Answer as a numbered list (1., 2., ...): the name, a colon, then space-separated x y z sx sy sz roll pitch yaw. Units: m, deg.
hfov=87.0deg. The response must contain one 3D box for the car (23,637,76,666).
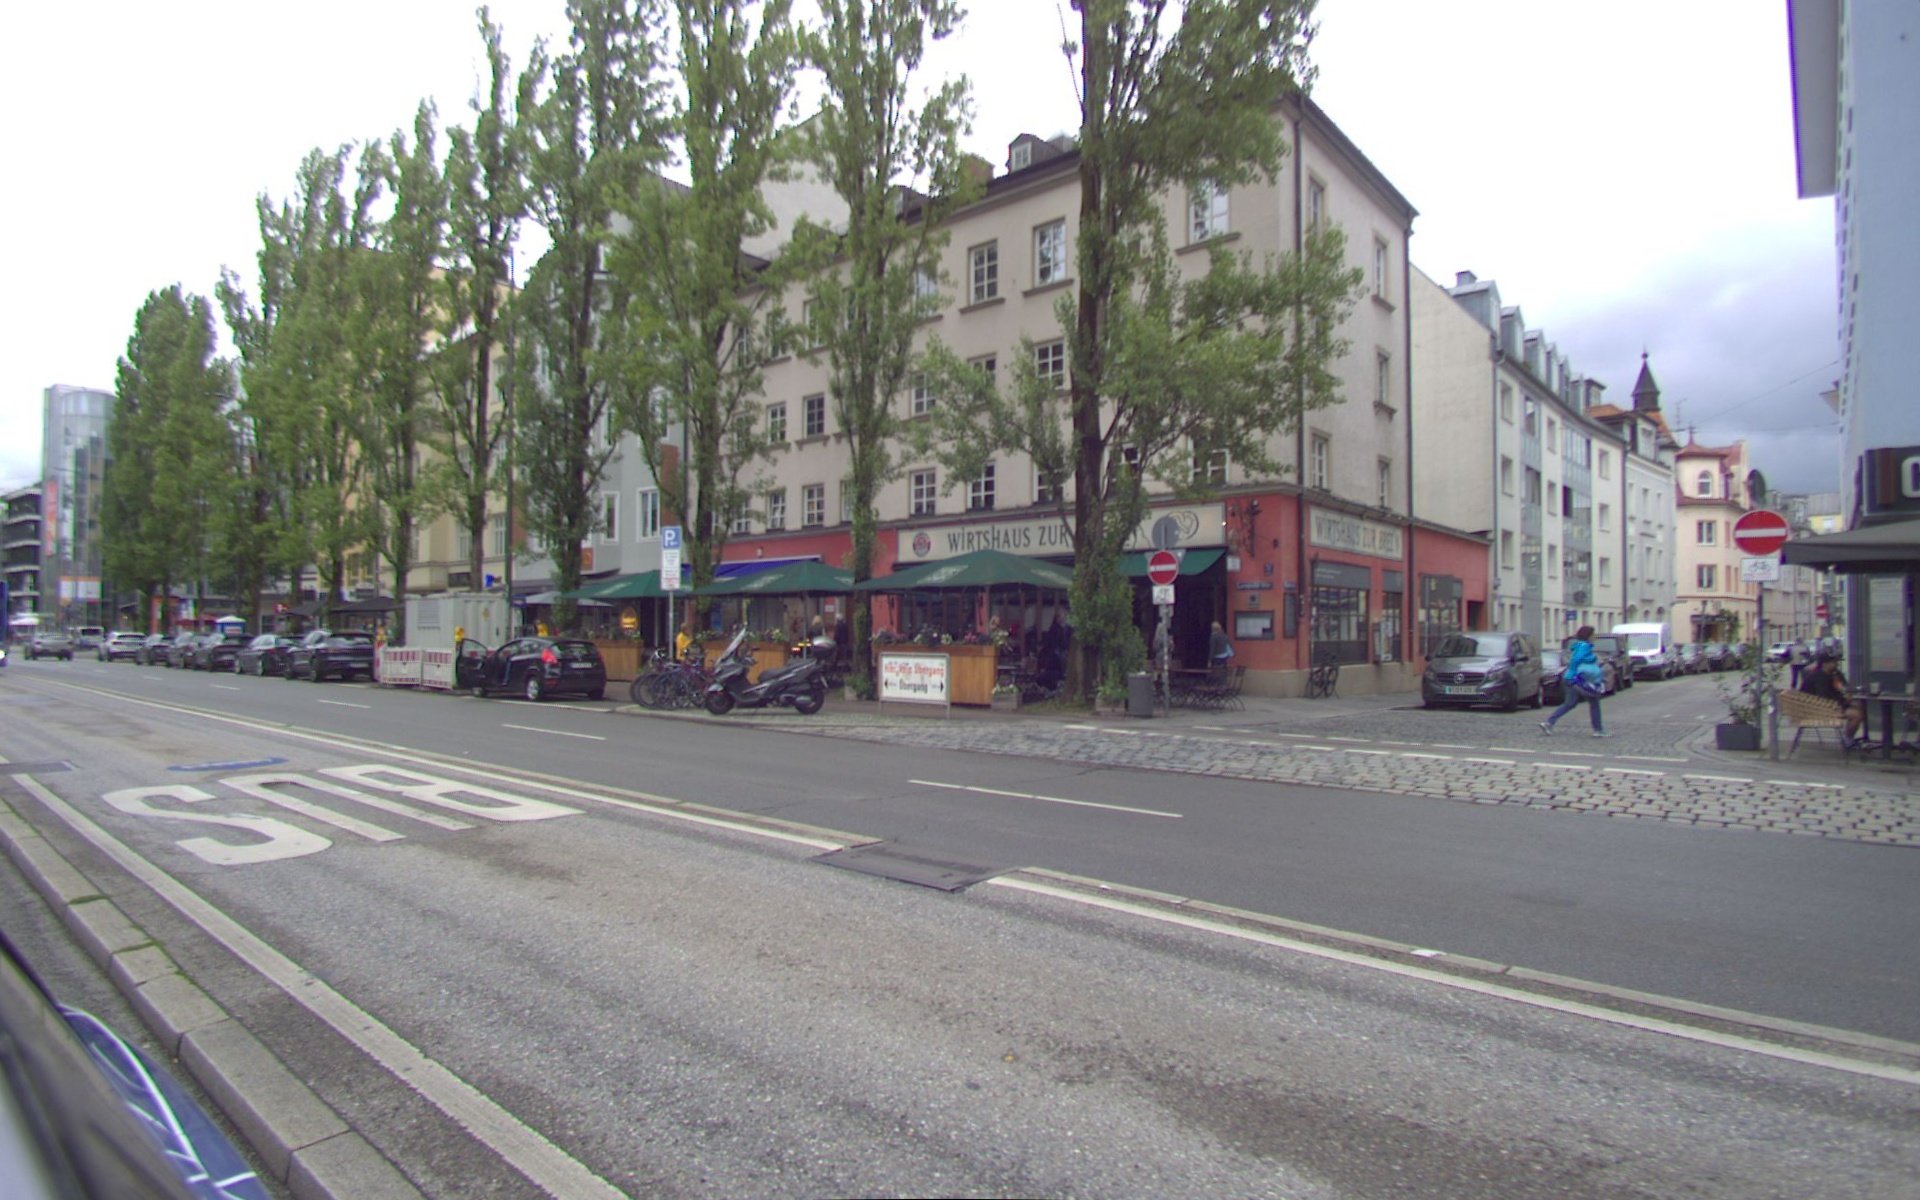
1. car: -51.235 2.879 56.940 4.075 1.553 1.695 -2 -4 42

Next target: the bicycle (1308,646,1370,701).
1. bicycle: 8.848 1.683 23.548 0.645 1.214 2.317 -2 -3 39

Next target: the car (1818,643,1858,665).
1. car: 72.686 4.504 83.736 4.517 1.780 1.985 3 -4 -43

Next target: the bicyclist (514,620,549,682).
1. bicyclist: -12.028 1.413 28.425 0.816 1.718 0.598 -2 -2 42

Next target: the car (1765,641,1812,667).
1. car: 57.916 3.781 70.722 4.518 1.780 1.985 4 -4 -44

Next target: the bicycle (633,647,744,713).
1. bicycle: -5.028 1.478 18.804 1.949 1.134 0.283 -1 0 -12

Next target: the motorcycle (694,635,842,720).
1. motorcycle: -3.315 1.319 17.562 2.426 1.425 0.744 0 -2 8

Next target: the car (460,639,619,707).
1. car: -9.769 1.641 23.430 3.780 1.433 1.739 -2 -3 38

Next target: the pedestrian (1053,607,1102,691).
1. pedestrian: 2.761 1.143 23.826 0.905 1.941 0.690 -2 -3 44

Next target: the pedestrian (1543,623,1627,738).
1. pedestrian: 9.335 1.178 15.155 0.945 1.659 0.694 -1 -2 25

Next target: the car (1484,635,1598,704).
1. car: 16.383 1.925 28.451 1.982 1.780 4.525 -2 -4 40

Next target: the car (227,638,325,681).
1. car: -24.384 2.072 36.038 4.572 1.451 1.778 -2 -3 42

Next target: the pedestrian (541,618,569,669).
1. pedestrian: -15.911 1.701 39.747 0.905 1.941 0.690 -2 -3 44

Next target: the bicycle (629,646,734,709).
1. bicycle: -5.416 1.500 19.764 1.949 1.134 0.343 -1 0 -12

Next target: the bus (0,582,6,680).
1. bus: -33.722 1.035 33.065 10.046 2.972 2.661 -2 -2 41

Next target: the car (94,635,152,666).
1. car: -45.276 2.726 54.733 4.103 1.590 1.778 -2 -3 41

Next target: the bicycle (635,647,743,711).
1. bicycle: -5.088 1.480 19.082 1.949 1.134 0.283 -1 0 -12

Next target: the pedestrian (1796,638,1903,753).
1. pedestrian: 11.215 1.171 12.763 0.950 1.373 0.690 -2 -3 44

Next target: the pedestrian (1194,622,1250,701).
1. pedestrian: 5.786 1.343 22.384 0.689 1.659 0.930 2 0 -44

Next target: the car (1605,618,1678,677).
1. car: 29.355 2.071 43.551 1.982 2.384 4.523 -2 -4 42

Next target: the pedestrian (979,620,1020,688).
1. pedestrian: 0.965 1.328 24.914 0.732 1.636 0.690 -2 -3 44

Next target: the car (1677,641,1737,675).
1. car: 40.929 3.171 55.432 1.984 1.780 4.519 -2 -4 45

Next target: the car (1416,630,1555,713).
1. car: 12.558 1.662 24.051 1.982 1.780 4.525 -2 -4 40

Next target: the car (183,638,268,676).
1. car: -29.334 2.240 40.366 4.572 1.451 1.778 -2 -3 42

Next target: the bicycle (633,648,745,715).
1. bicycle: -4.934 1.469 18.475 1.949 1.134 0.362 -1 0 -12

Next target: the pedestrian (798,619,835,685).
1. pedestrian: -4.316 1.568 30.531 0.905 1.941 0.690 -2 -3 44

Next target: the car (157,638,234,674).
1. car: -33.259 2.406 43.998 4.572 1.515 1.778 -2 -3 42

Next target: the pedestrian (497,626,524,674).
1. pedestrian: -18.592 2.062 41.869 0.905 1.941 0.690 -2 -3 44

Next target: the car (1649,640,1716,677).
1. car: 36.356 2.932 50.887 1.984 1.780 4.519 -2 -4 45

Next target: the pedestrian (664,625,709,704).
1. pedestrian: -6.201 1.451 22.938 0.731 1.739 0.691 -2 -3 39

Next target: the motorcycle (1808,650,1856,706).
1. motorcycle: 20.524 1.807 23.805 0.738 1.213 2.729 -4 -5 42

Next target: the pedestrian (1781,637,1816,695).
1. pedestrian: 24.707 1.926 29.827 0.699 1.659 0.856 -2 -3 37

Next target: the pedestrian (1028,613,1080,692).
1. pedestrian: 2.133 1.186 23.039 0.950 1.735 0.690 -2 -3 44

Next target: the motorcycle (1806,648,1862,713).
1. motorcycle: 17.631 1.586 20.397 0.738 1.213 2.729 -4 -5 42

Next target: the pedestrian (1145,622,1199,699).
1. pedestrian: 4.655 1.317 22.253 0.689 1.659 0.930 2 -3 -44

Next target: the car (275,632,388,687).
1. car: -19.953 1.844 32.052 4.572 1.625 1.778 -2 -3 42

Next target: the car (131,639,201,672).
1. car: -37.452 2.584 47.709 4.572 1.451 1.778 -2 -3 42
